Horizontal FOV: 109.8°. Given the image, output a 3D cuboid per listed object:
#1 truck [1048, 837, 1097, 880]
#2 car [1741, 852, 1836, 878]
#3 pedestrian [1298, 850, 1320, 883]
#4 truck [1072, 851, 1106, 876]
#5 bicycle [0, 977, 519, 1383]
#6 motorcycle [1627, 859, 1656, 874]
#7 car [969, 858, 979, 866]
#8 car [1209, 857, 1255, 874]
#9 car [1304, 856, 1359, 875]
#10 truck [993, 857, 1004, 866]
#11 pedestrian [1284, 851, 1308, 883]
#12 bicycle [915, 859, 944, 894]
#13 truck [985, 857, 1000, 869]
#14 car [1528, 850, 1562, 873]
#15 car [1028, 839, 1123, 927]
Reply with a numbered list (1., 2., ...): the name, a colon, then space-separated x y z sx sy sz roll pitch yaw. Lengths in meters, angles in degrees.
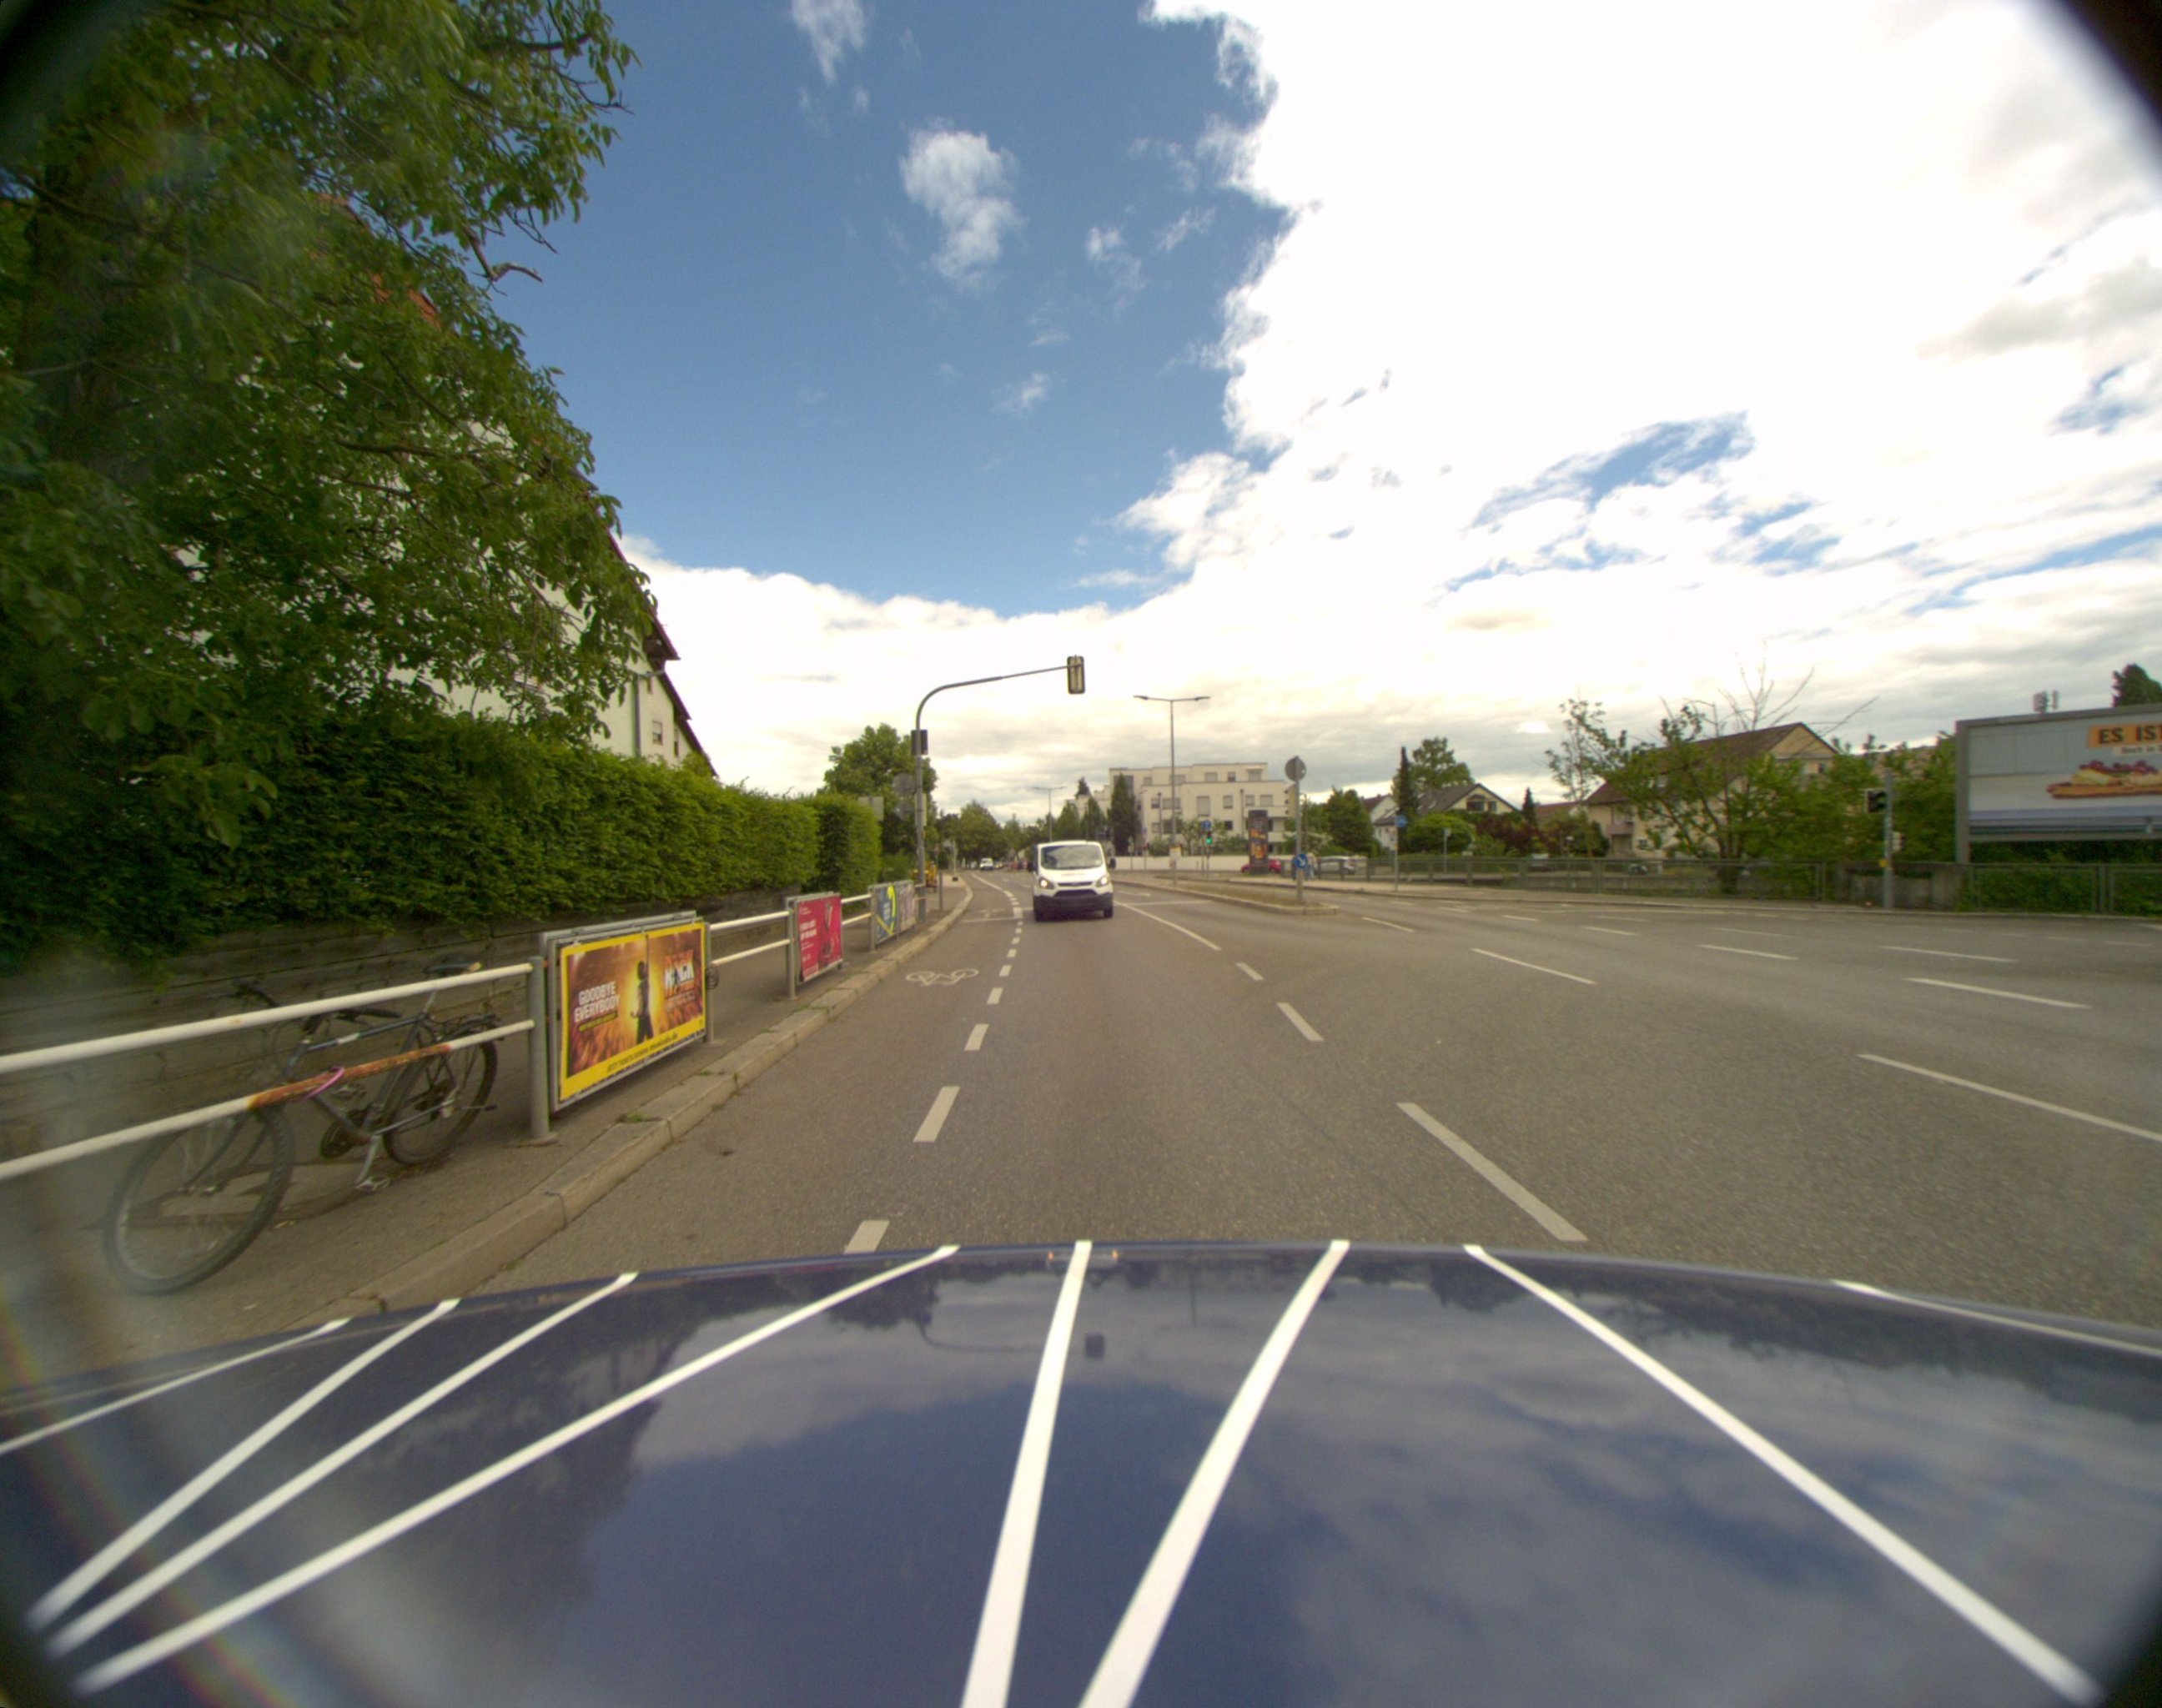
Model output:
1. truck: -0.632 0.293 48.141 2.038 2.555 6.051 0 0 -11
2. car: 46.303 0.724 49.858 4.364 1.598 2.004 -1 0 38
3. pedestrian: 11.691 0.640 38.964 0.658 1.624 0.832 -3 1 -16
4. truck: 0.695 0.879 72.141 2.132 2.251 6.800 -1 0 -9
5. bicycle: -3.219 1.156 3.160 0.629 1.022 1.504 -2 0 -1
6. motorcycle: 40.400 0.902 54.813 0.702 0.993 2.123 3 1 9
7. car: -19.087 1.420 135.558 1.562 1.343 3.539 0 -1 -4
8. car: 13.715 1.019 69.223 3.692 1.438 1.779 0 2 34
9. car: 21.099 0.966 64.053 4.118 1.526 1.651 1 0 35
10. truck: -14.581 1.292 134.469 1.619 1.649 3.999 0 0 -3
11. pedestrian: 10.982 0.655 38.783 0.658 1.624 1.069 -3 1 -16
12. bicycle: -7.051 1.009 35.444 0.894 1.501 2.782 3 0 -4
13. truck: -12.679 1.283 108.685 1.615 1.780 4.000 0 0 0
14. car: 38.631 0.637 63.219 1.782 1.572 4.007 -4 1 39
15. car: -0.315 0.689 20.782 2.076 1.956 5.555 -3 0 -5
